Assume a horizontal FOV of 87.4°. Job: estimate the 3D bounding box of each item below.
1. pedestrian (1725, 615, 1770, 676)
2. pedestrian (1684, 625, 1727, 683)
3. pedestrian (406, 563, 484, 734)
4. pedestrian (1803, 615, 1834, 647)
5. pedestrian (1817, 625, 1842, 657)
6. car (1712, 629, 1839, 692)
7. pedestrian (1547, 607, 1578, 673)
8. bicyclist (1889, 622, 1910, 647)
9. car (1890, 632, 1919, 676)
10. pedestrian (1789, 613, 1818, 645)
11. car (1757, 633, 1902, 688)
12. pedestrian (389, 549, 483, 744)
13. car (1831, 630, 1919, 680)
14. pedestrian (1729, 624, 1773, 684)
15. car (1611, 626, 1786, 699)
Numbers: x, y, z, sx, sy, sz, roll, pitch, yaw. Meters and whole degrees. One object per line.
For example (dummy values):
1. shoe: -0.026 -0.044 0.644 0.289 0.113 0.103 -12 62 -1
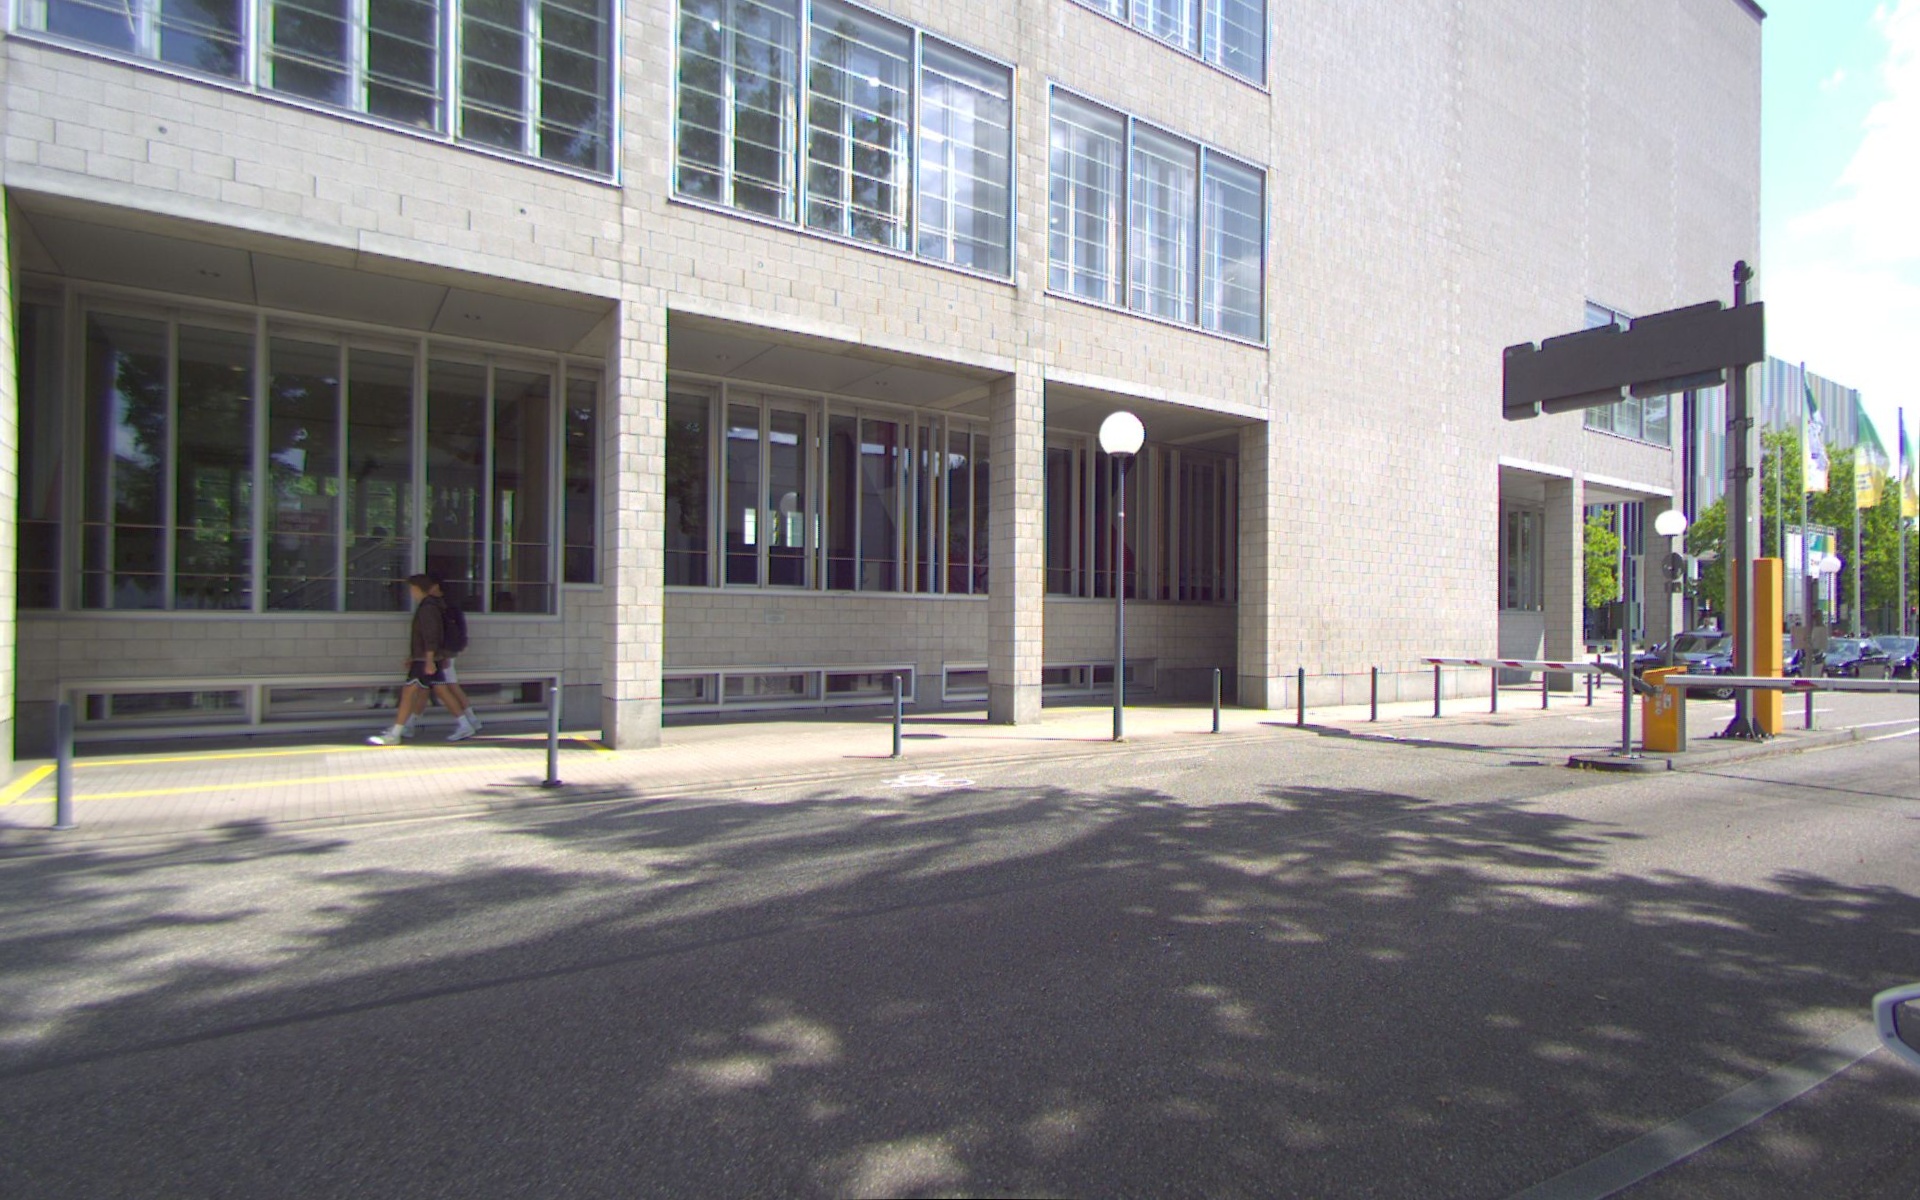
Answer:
1. pedestrian: 26.791 1.521 34.171 1.154 2.040 0.976 1 -1 -38
2. pedestrian: 26.655 1.913 35.912 1.154 2.040 0.976 1 -1 -38
3. pedestrian: -6.030 0.548 11.746 0.712 1.905 0.726 1 0 -34
4. pedestrian: 49.701 1.773 58.138 1.076 1.843 0.862 0 -1 -11
5. pedestrian: 44.603 2.101 51.550 0.790 1.619 0.766 1 -1 -32
6. car: 21.602 1.545 26.584 3.669 1.487 1.628 1 1 -35
7. pedestrian: 22.548 1.499 37.618 0.723 2.454 0.760 0 -1 0
8. bicyclist: 69.267 2.543 74.082 0.985 1.841 0.787 0 -1 -24
9. car: 35.448 1.957 36.405 3.870 1.487 1.666 1 1 -34
10. pedestrian: 50.047 1.709 59.591 0.988 1.901 0.854 0 -1 -11
11. car: 25.304 1.703 29.174 4.962 1.396 1.849 1 1 -33
12. pedestrian: -5.754 0.491 11.032 0.821 2.040 0.694 1 0 -34
13. car: 30.798 1.788 33.320 4.151 1.487 1.738 1 1 -33
14. pedestrian: 27.658 1.864 35.116 1.154 2.040 0.976 1 -1 -38
15. car: 17.279 1.395 23.426 4.670 1.487 1.847 1 1 -35
